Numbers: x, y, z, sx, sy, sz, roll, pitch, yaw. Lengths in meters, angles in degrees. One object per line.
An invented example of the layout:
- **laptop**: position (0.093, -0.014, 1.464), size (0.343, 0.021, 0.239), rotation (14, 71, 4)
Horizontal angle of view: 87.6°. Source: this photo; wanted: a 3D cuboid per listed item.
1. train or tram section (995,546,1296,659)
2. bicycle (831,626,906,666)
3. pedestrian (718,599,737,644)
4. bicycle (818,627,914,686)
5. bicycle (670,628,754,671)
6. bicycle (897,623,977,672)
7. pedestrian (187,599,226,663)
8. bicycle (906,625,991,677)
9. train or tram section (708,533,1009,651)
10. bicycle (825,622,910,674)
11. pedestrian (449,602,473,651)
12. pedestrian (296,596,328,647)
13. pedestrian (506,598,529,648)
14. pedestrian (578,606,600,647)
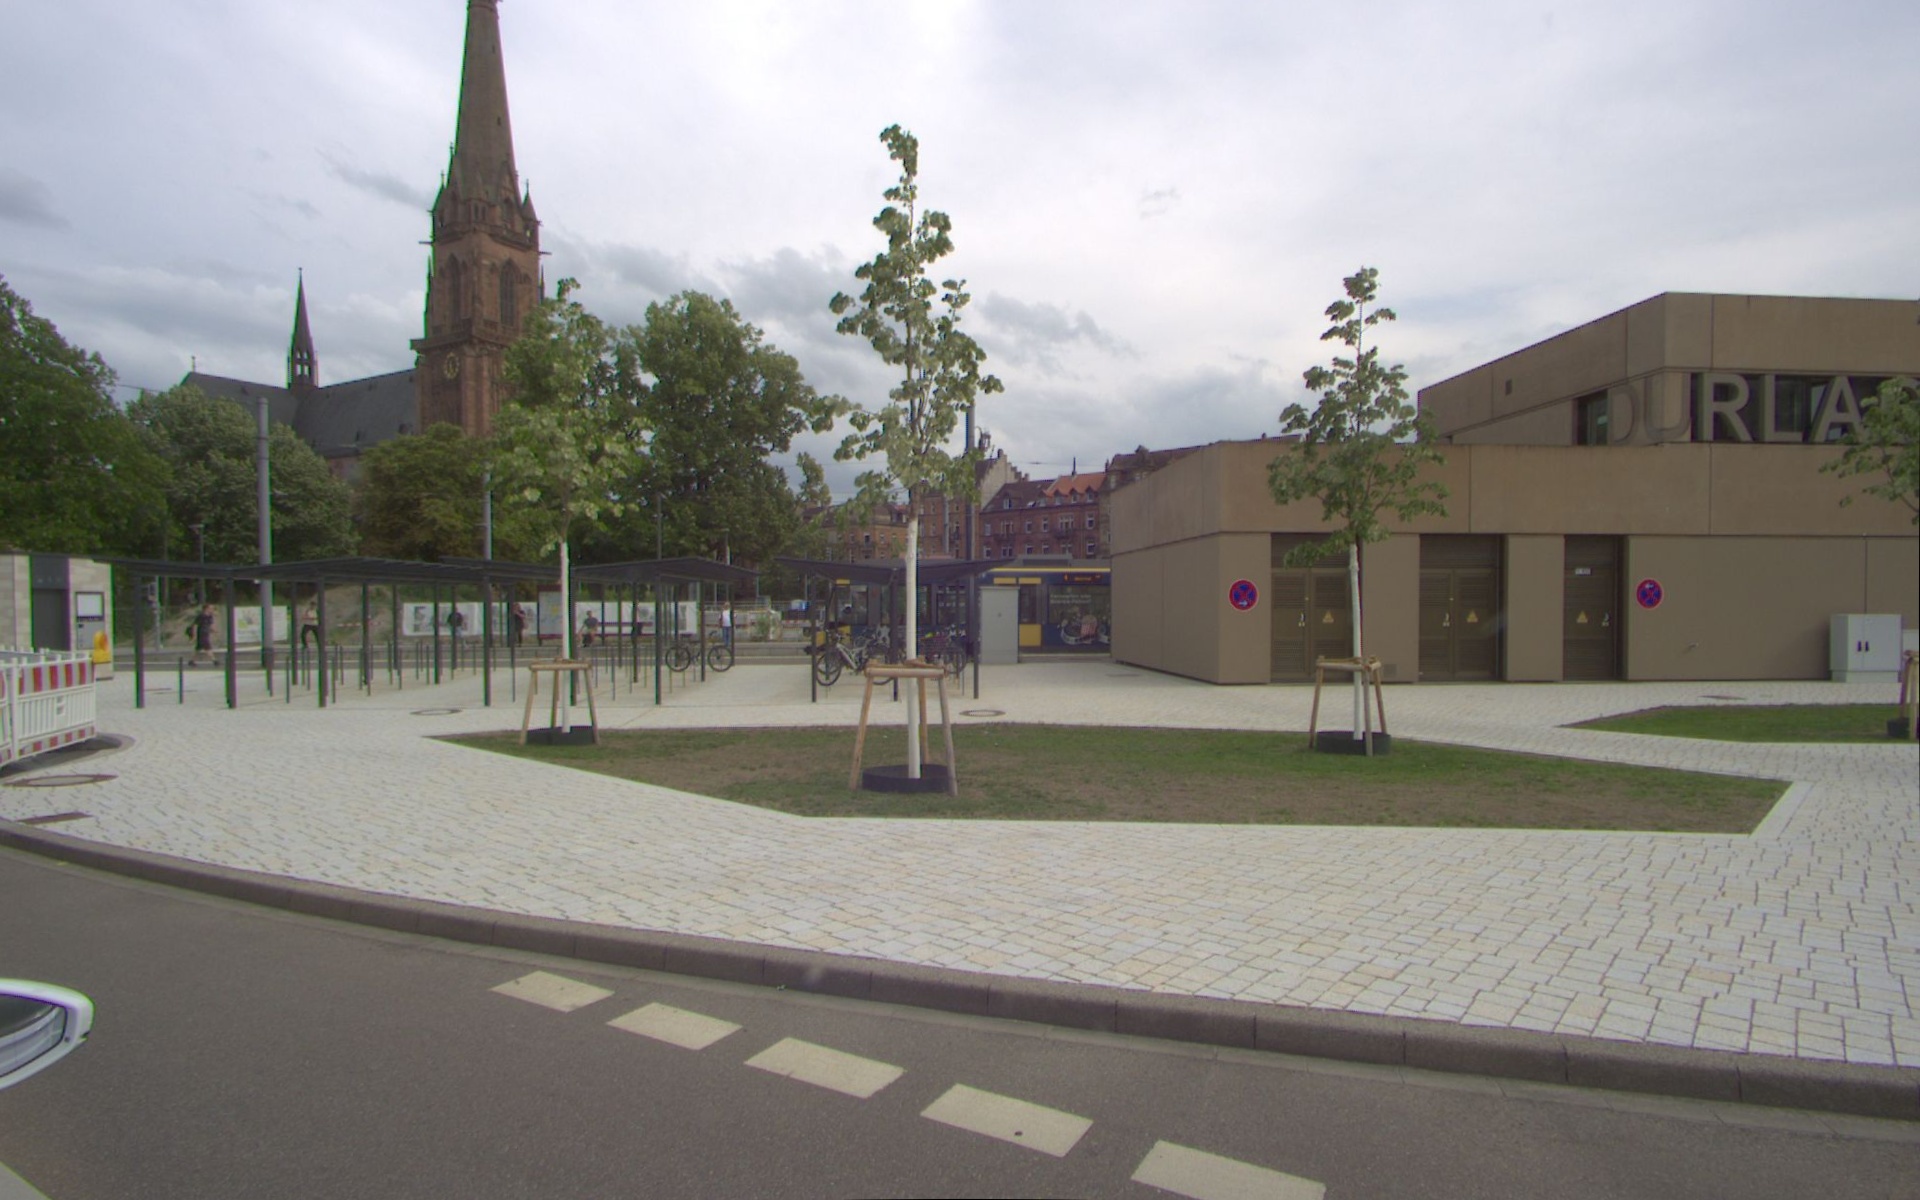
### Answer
- **train or tram section**: position (5.965, 0.075, 33.216), size (9.248, 3.256, 3.061), rotation (2, 1, -4)
- **bicycle**: position (-2.416, 1.220, 26.519), size (1.929, 0.983, 0.583), rotation (2, 1, -7)
- **pedestrian**: position (-9.122, 0.842, 39.335), size (0.665, 1.701, 0.709), rotation (2, 1, -11)
- **bicycle**: position (-2.003, 1.198, 21.235), size (1.931, 1.172, 0.583), rotation (2, 1, -13)
- **bicycle**: position (-6.129, 1.218, 24.804), size (1.929, 0.968, 0.583), rotation (2, 1, -7)
- **bicycle**: position (-0.594, 1.200, 25.500), size (1.931, 1.172, 0.583), rotation (2, 1, -13)
- **pedestrian**: position (-20.257, 0.821, 26.928), size (0.618, 1.677, 0.531), rotation (2, 2, -5)
- **bicycle**: position (-0.291, 1.226, 24.077), size (1.931, 1.172, 0.583), rotation (2, 1, -13)
- **train or tram section**: position (-3.202, -0.247, 32.483), size (9.189, 3.322, 3.061), rotation (2, 1, -4)
- **bicycle**: position (-2.217, 1.160, 24.013), size (1.931, 1.172, 0.583), rotation (2, 1, -13)
- **pedestrian**: position (-18.695, 0.985, 37.503), size (0.665, 1.825, 0.522), rotation (2, 2, -11)
- **pedestrian**: position (-24.078, 0.791, 37.197), size (0.743, 1.825, 0.817), rotation (3, 2, 42)
- **pedestrian**: position (-16.661, 0.856, 37.743), size (0.665, 1.825, 0.522), rotation (2, 2, -11)
- **pedestrian**: position (-14.091, 0.996, 38.064), size (0.665, 1.505, 0.689), rotation (2, 1, -11)
